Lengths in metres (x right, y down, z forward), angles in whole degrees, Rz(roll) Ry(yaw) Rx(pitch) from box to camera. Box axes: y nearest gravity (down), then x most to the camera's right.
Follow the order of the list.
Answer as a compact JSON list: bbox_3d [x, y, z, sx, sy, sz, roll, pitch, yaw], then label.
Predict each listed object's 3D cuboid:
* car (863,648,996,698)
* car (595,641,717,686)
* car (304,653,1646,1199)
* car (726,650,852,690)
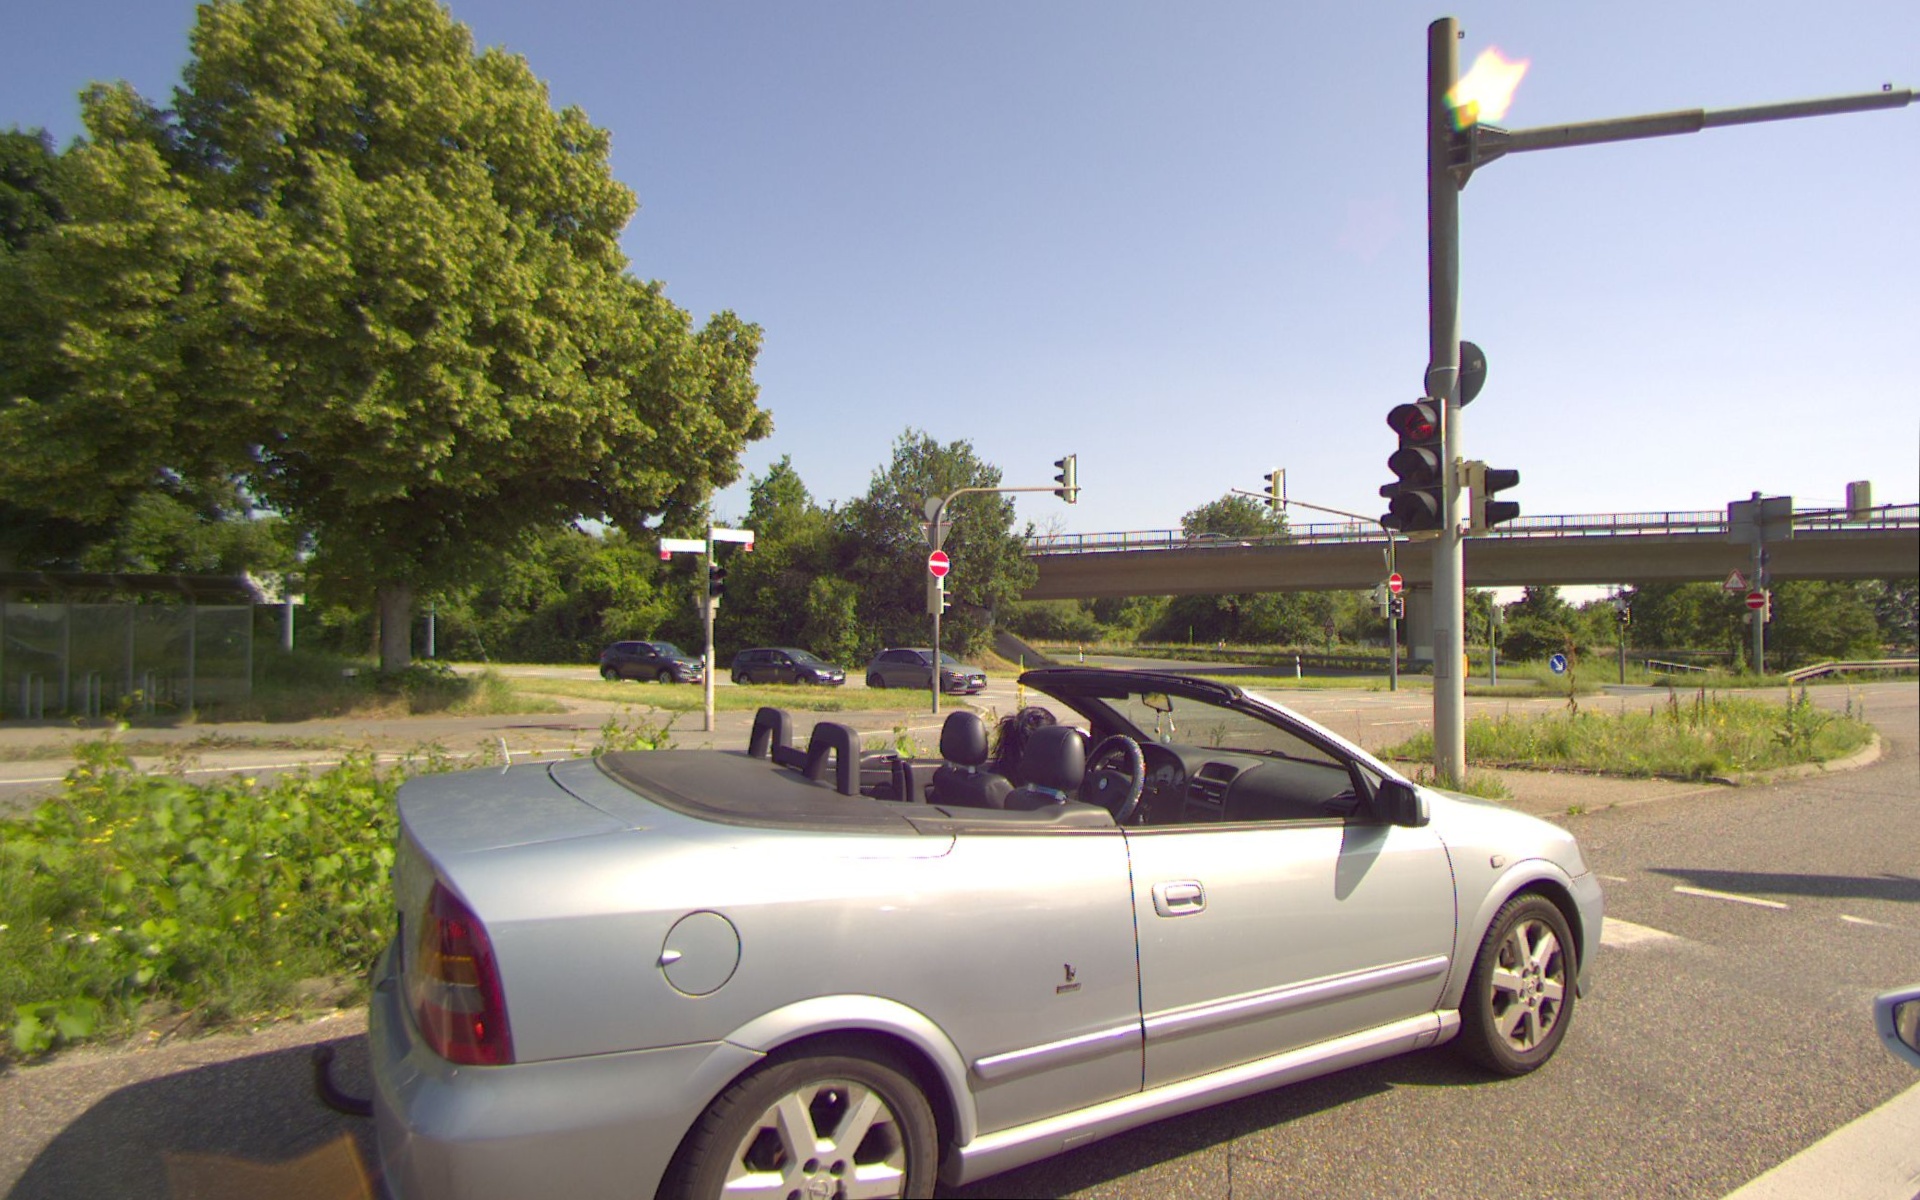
[{"bbox_3d":[-1.013,2.264,31.889,4.066,1.443,1.862,-2,-3,41],"label":"car"},{"bbox_3d":[-11.385,2.334,37.572,4.270,1.616,1.651,-1,-2,22],"label":"car"},{"bbox_3d":[0.310,0.869,3.334,4.049,1.352,1.666,1,-3,-30],"label":"car"},{"bbox_3d":[-6.001,2.415,35.141,4.276,1.297,1.648,-1,-2,30],"label":"car"}]
